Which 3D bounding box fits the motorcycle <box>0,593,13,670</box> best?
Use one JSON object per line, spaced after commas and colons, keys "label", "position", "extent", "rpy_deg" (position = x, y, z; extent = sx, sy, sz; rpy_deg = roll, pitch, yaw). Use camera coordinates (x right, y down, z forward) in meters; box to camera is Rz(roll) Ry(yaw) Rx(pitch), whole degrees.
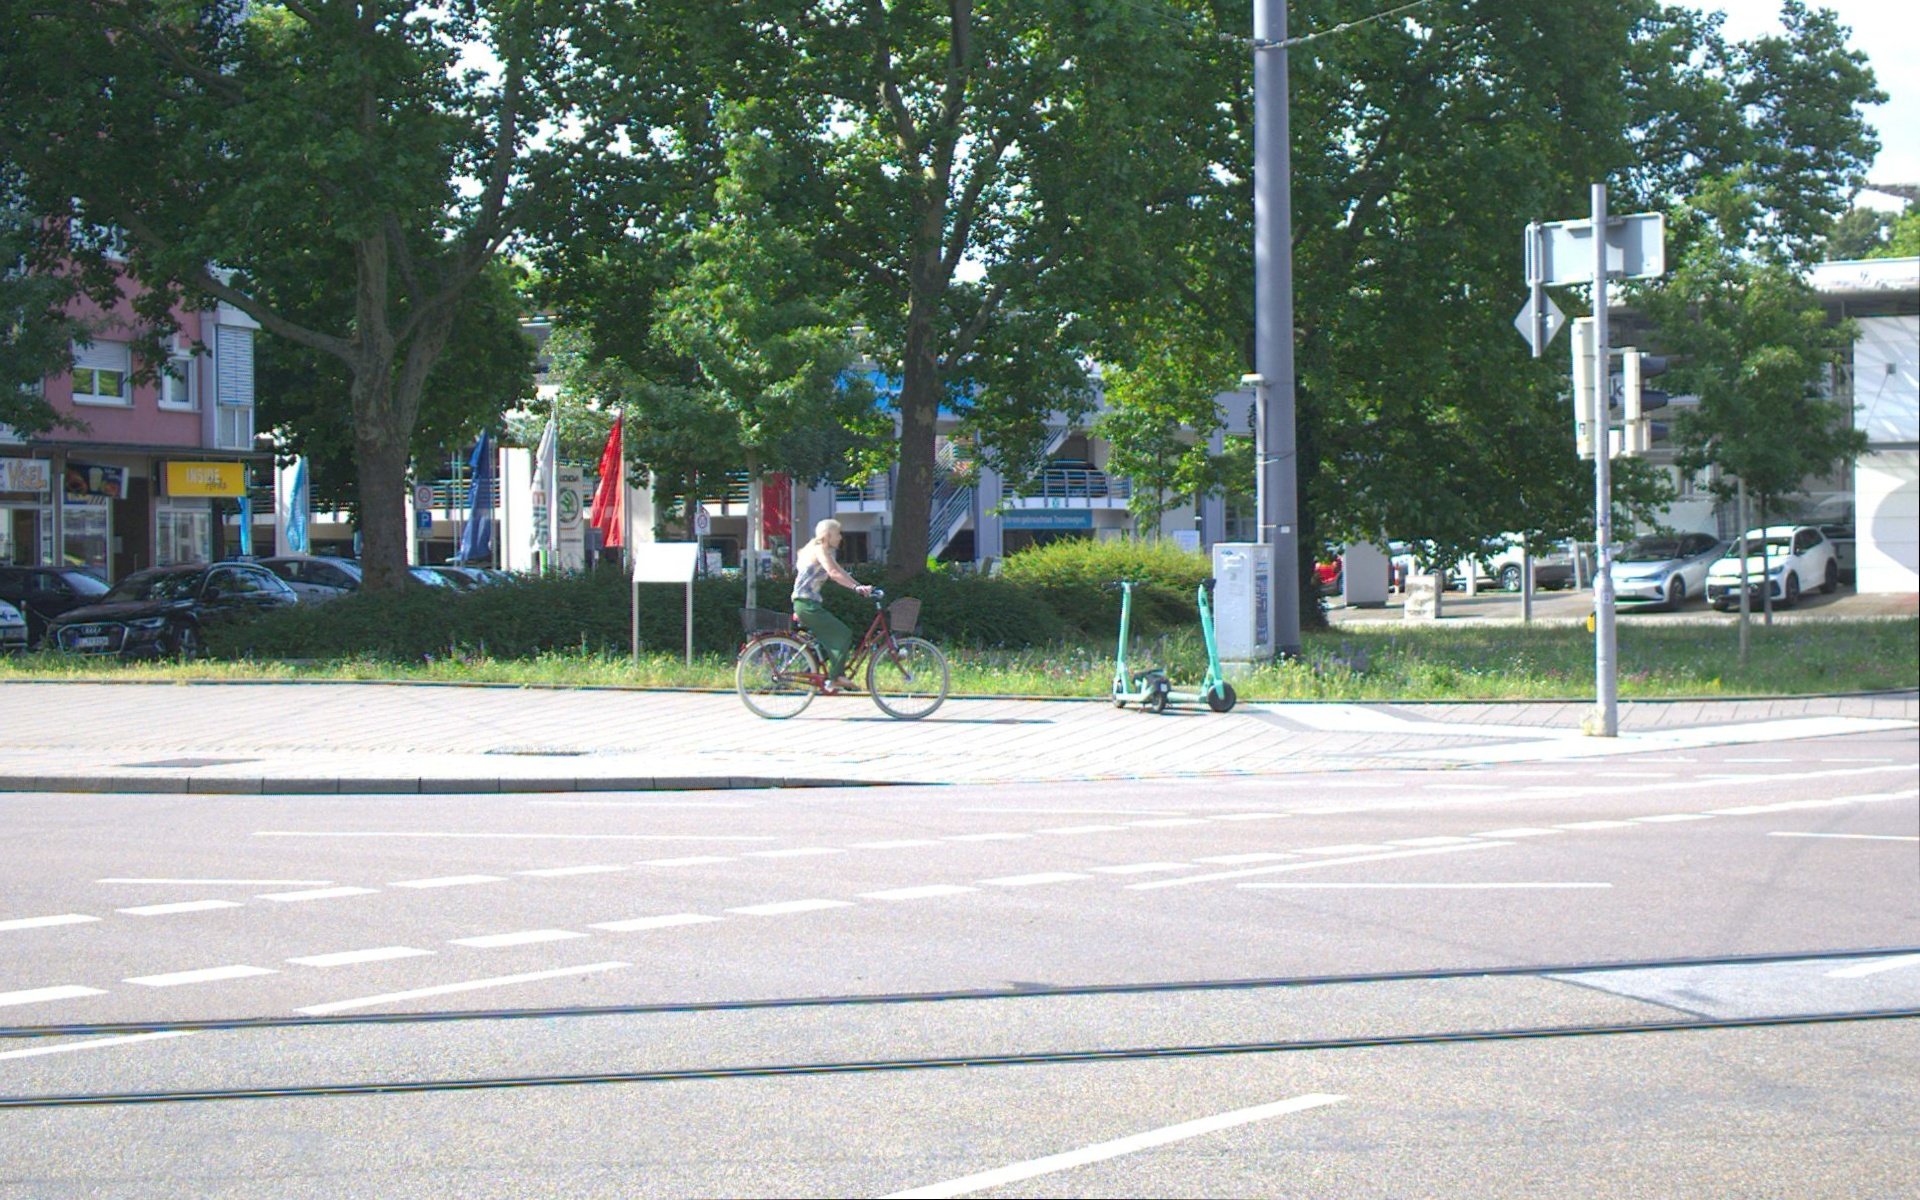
{"label": "motorcycle", "position": [-12.283, 0.385, 40.875], "extent": [1.888, 0.899, 0.605], "rpy_deg": [-1, 2, -27]}

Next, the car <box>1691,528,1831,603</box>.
{"label": "car", "position": [17.988, -0.785, 77.076], "extent": [2.070, 1.598, 3.994], "rpy_deg": [0, 1, 28]}

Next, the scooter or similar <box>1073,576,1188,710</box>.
{"label": "scooter or similar", "position": [1.530, 0.385, 30.858], "extent": [0.926, 1.154, 0.382], "rpy_deg": [1, 3, -11]}

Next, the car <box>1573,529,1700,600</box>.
{"label": "car", "position": [15.482, -0.793, 78.555], "extent": [1.996, 1.568, 3.995], "rpy_deg": [-1, 0, 24]}

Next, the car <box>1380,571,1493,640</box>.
{"label": "car", "position": [11.349, 0.135, 81.688], "extent": [1.683, 1.590, 3.995], "rpy_deg": [-1, 0, 23]}

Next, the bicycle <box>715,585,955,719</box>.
{"label": "bicycle", "position": [-1.069, 0.445, 29.660], "extent": [1.986, 1.124, 0.789], "rpy_deg": [0, 0, 4]}

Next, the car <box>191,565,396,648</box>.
{"label": "car", "position": [-13.116, 0.140, 67.660], "extent": [3.611, 1.588, 1.664], "rpy_deg": [-1, 0, 19]}

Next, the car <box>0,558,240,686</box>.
{"label": "car", "position": [-11.337, 0.250, 45.405], "extent": [1.793, 1.415, 3.997], "rpy_deg": [4, 3, 18]}

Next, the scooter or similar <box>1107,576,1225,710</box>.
{"label": "scooter or similar", "position": [1.820, 0.382, 30.341], "extent": [0.926, 1.154, 0.382], "rpy_deg": [1, 3, -23]}

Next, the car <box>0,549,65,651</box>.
{"label": "car", "position": [-15.910, 0.015, 53.019], "extent": [3.565, 1.525, 1.999], "rpy_deg": [-1, 0, 15]}

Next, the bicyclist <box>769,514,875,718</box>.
{"label": "bicyclist", "position": [-1.187, 0.139, 29.712], "extent": [0.825, 1.739, 0.712], "rpy_deg": [0, 0, 4]}
